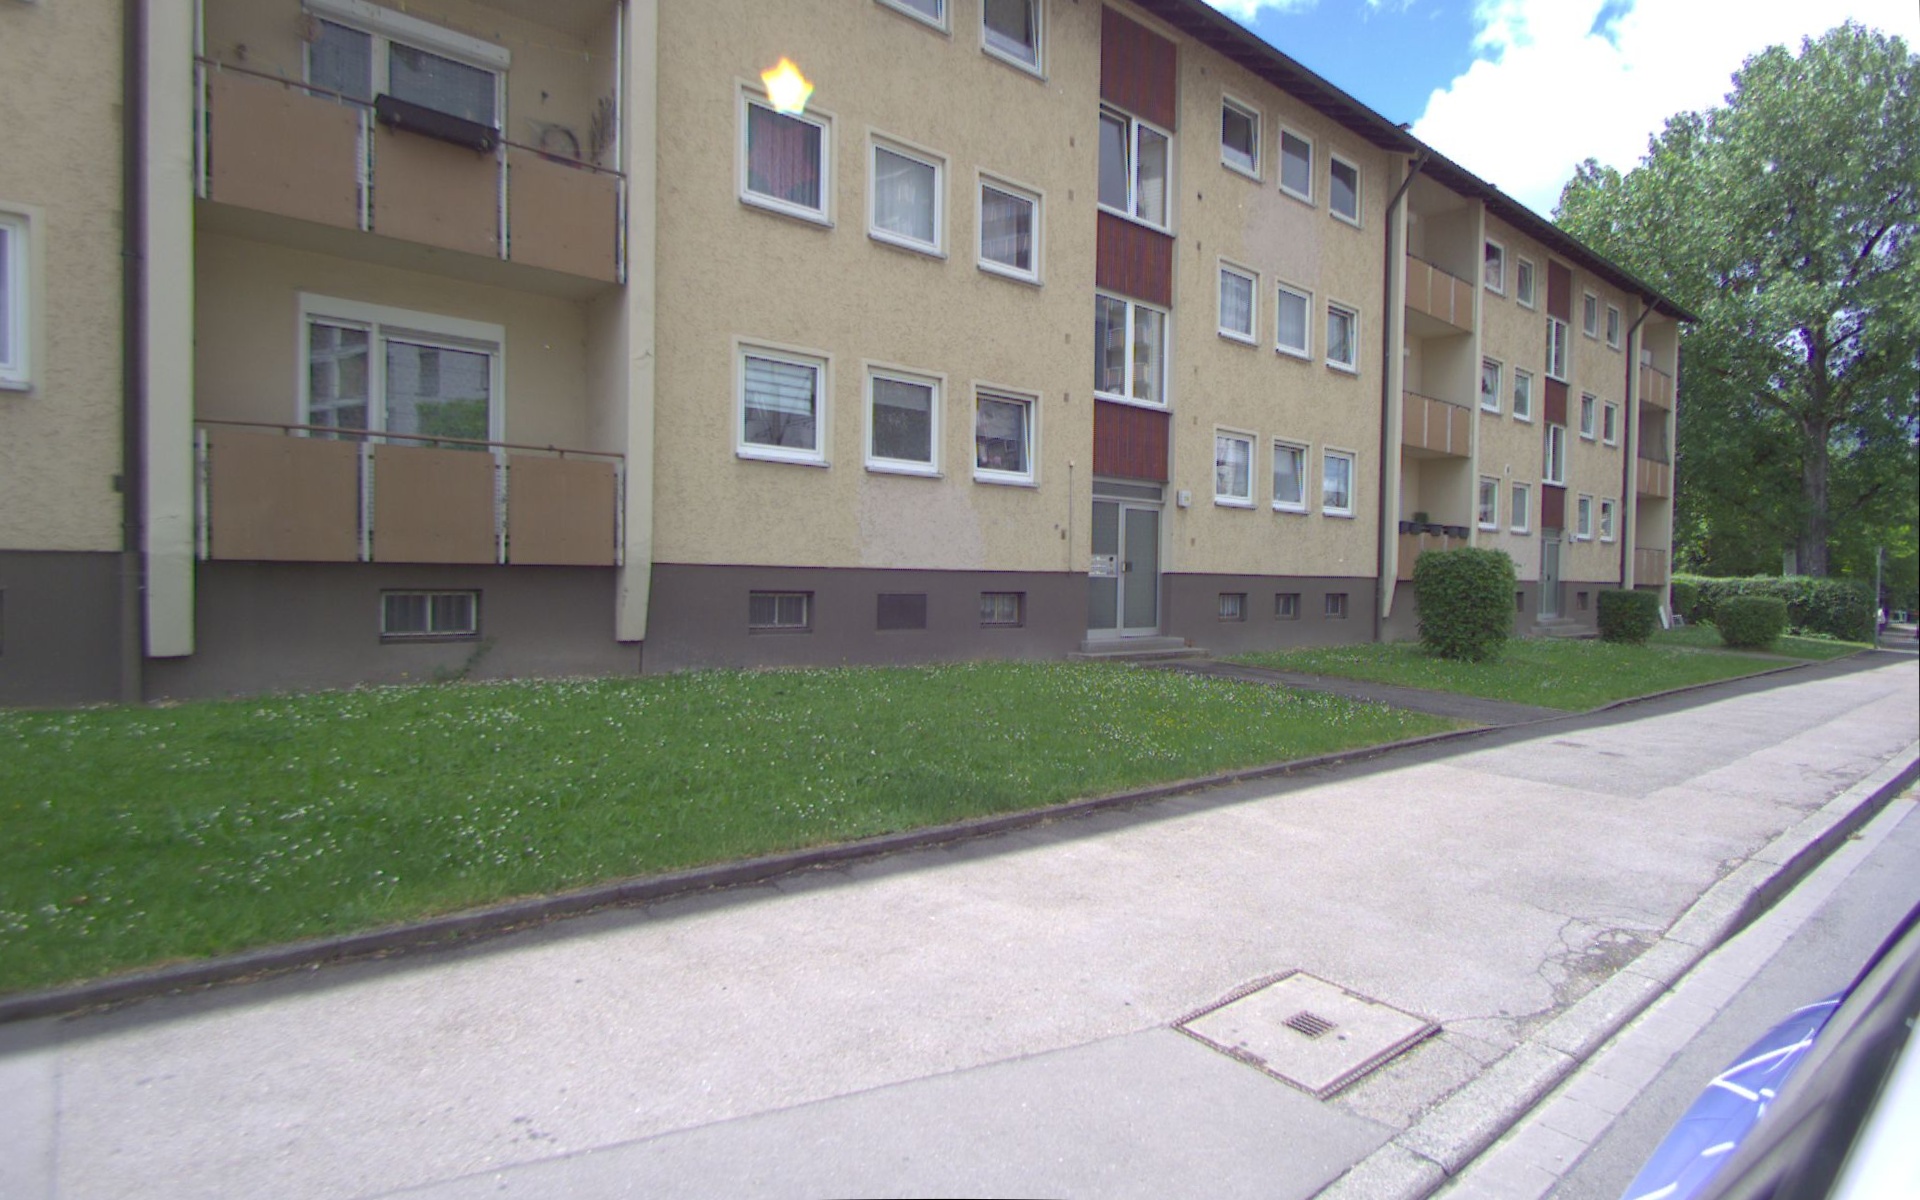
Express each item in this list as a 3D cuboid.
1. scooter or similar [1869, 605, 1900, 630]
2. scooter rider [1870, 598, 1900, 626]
[{"bbox_3d":[42.519,0.810,46.539,2.079,1.077,0.891,2,1,-44],"label":"scooter or similar"},{"bbox_3d":[42.570,0.547,46.576,1.260,1.235,0.886,2,1,-44],"label":"scooter rider"}]
